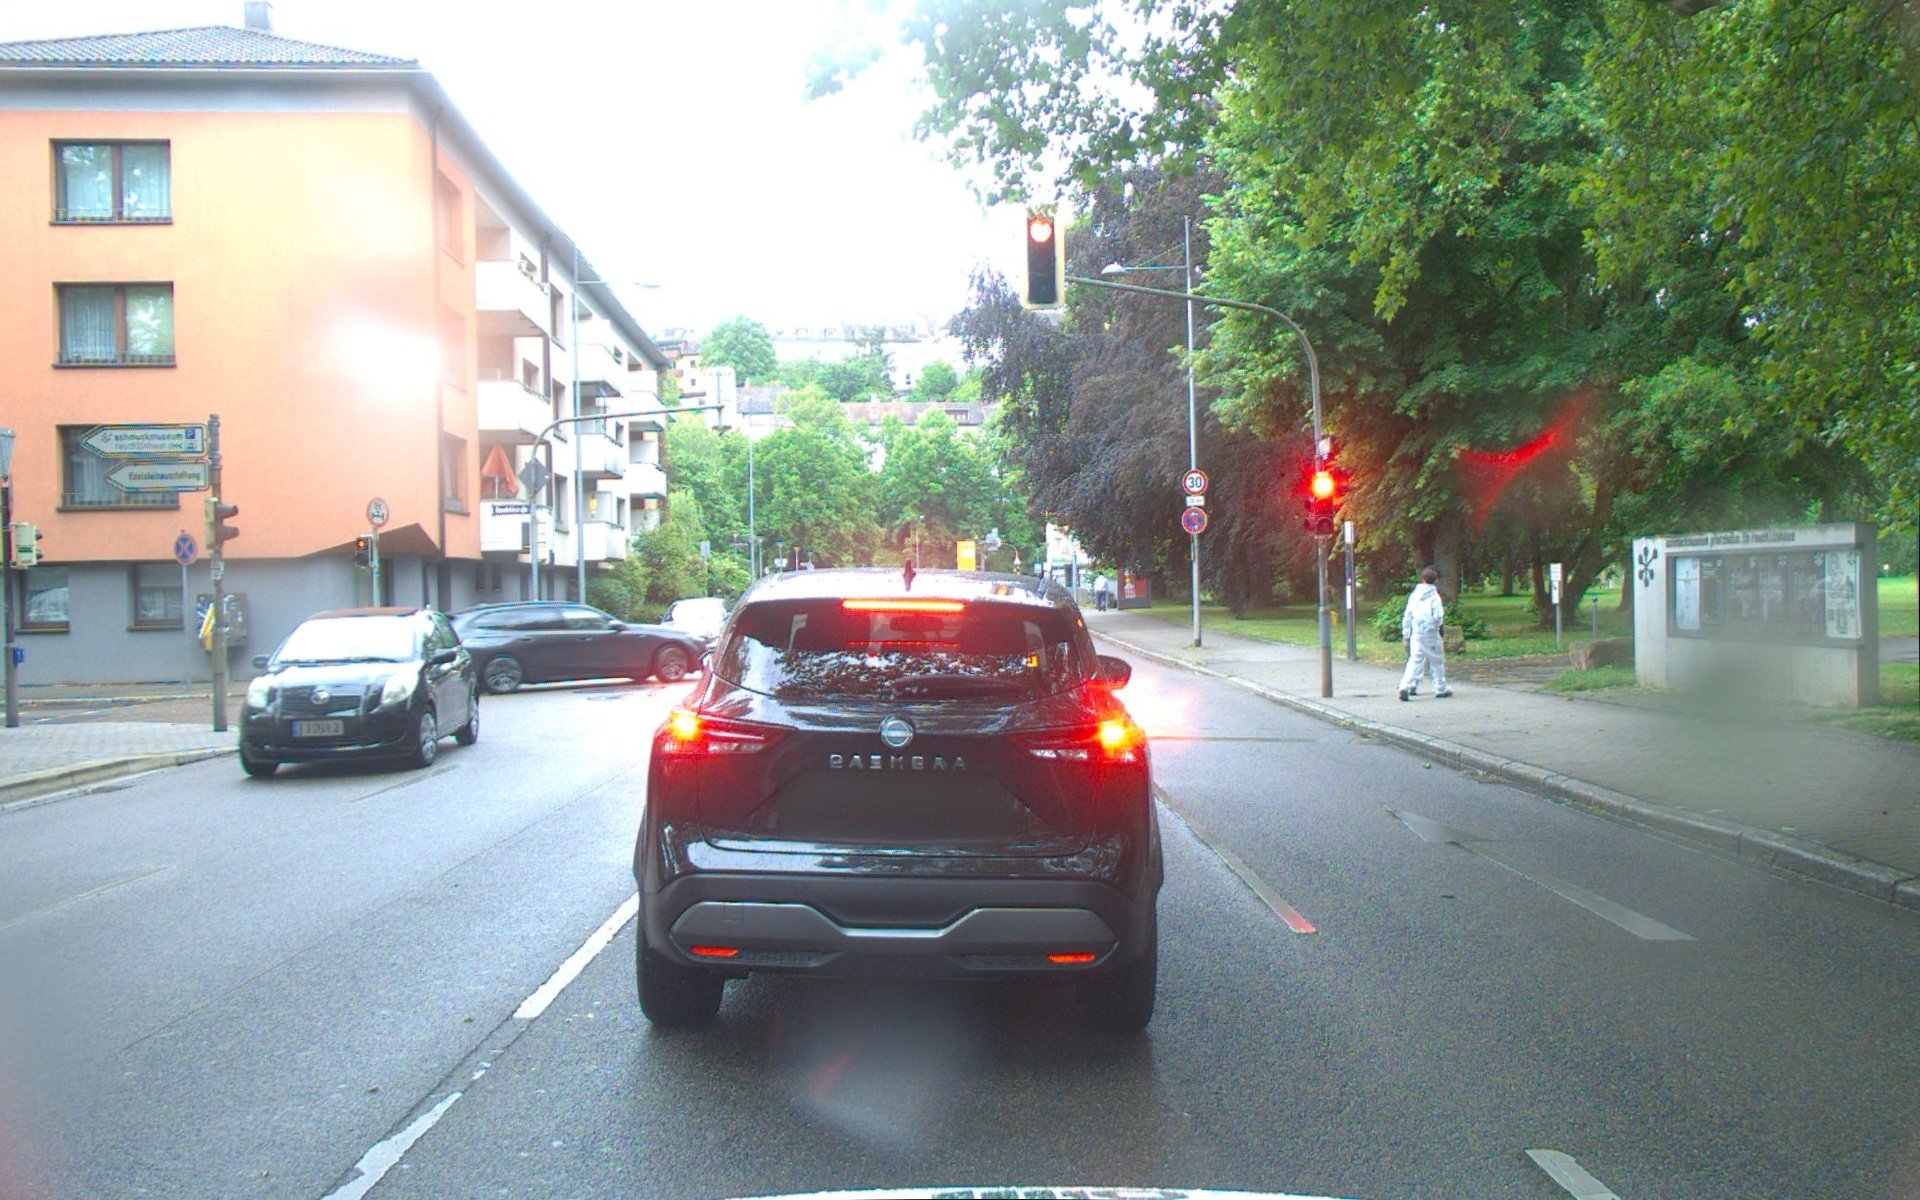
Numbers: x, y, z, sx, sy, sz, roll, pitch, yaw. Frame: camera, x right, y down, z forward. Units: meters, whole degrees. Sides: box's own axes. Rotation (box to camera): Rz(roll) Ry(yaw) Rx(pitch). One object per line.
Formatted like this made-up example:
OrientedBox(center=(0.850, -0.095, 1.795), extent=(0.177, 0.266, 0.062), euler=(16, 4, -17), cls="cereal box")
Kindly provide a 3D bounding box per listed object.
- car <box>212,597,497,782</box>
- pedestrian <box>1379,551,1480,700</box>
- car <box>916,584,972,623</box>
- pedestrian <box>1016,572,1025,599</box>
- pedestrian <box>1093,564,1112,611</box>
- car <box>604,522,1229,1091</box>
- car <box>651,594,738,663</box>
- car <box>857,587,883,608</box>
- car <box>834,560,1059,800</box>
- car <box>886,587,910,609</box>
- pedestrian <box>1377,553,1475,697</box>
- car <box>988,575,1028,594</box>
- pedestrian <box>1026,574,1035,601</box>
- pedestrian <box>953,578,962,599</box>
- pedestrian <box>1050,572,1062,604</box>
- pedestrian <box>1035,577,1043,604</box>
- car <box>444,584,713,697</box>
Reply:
OrientedBox(center=(-5.913, 0.784, 16.622), extent=(1.761, 1.560, 3.862), euler=(-2, 0, -6), cls="car")
OrientedBox(center=(6.281, 0.332, 22.164), extent=(1.017, 1.908, 0.656), euler=(-4, 1, -11), cls="pedestrian")
OrientedBox(center=(-0.660, 0.120, 64.705), extent=(1.790, 1.428, 4.645), euler=(-2, 0, -5), cls="car")
OrientedBox(center=(4.258, -1.013, 116.295), extent=(0.498, 1.833, 0.619), euler=(-2, 0, -1), cls="pedestrian")
OrientedBox(center=(6.357, -0.555, 73.935), extent=(0.710, 2.049, 0.851), euler=(-2, 0, -1), cls="pedestrian")
OrientedBox(center=(-0.152, 0.612, 6.986), extent=(1.874, 1.709, 3.999), euler=(0, 0, -1), cls="car")
OrientedBox(center=(-6.511, 0.657, 40.917), extent=(1.760, 1.560, 3.864), euler=(-2, 0, -4), cls="car")
OrientedBox(center=(-7.398, -0.220, 135.709), extent=(1.930, 1.559, 3.967), euler=(-2, 0, -1), cls="car")
OrientedBox(center=(-0.128, 0.599, 14.480), extent=(1.664, 1.776, 3.640), euler=(-2, 0, -1), cls="car")
OrientedBox(center=(-4.589, -0.191, 122.839), extent=(1.601, 1.559, 3.967), euler=(-2, 0, -1), cls="car")
OrientedBox(center=(6.448, 0.337, 22.918), extent=(1.017, 1.908, 0.656), euler=(-4, 1, -11), cls="pedestrian")
OrientedBox(center=(4.759, -1.516, 162.991), extent=(1.961, 1.765, 3.983), euler=(1, 0, 37), cls="car")
OrientedBox(center=(4.956, -0.872, 116.235), extent=(0.498, 1.833, 0.659), euler=(-2, 0, 3), cls="pedestrian")
OrientedBox(center=(-0.195, -0.932, 135.072), extent=(0.498, 1.702, 0.658), euler=(-2, 0, 27), cls="pedestrian")
OrientedBox(center=(5.530, -0.683, 95.371), extent=(0.498, 1.833, 0.620), euler=(-2, 0, 19), cls="pedestrian")
OrientedBox(center=(5.537, -0.657, 115.849), extent=(0.498, 1.833, 0.619), euler=(-2, 0, -2), cls="pedestrian")
OrientedBox(center=(-6.645, 0.665, 28.909), extent=(4.251, 1.707, 1.711), euler=(-2, 0, -29), cls="car")
